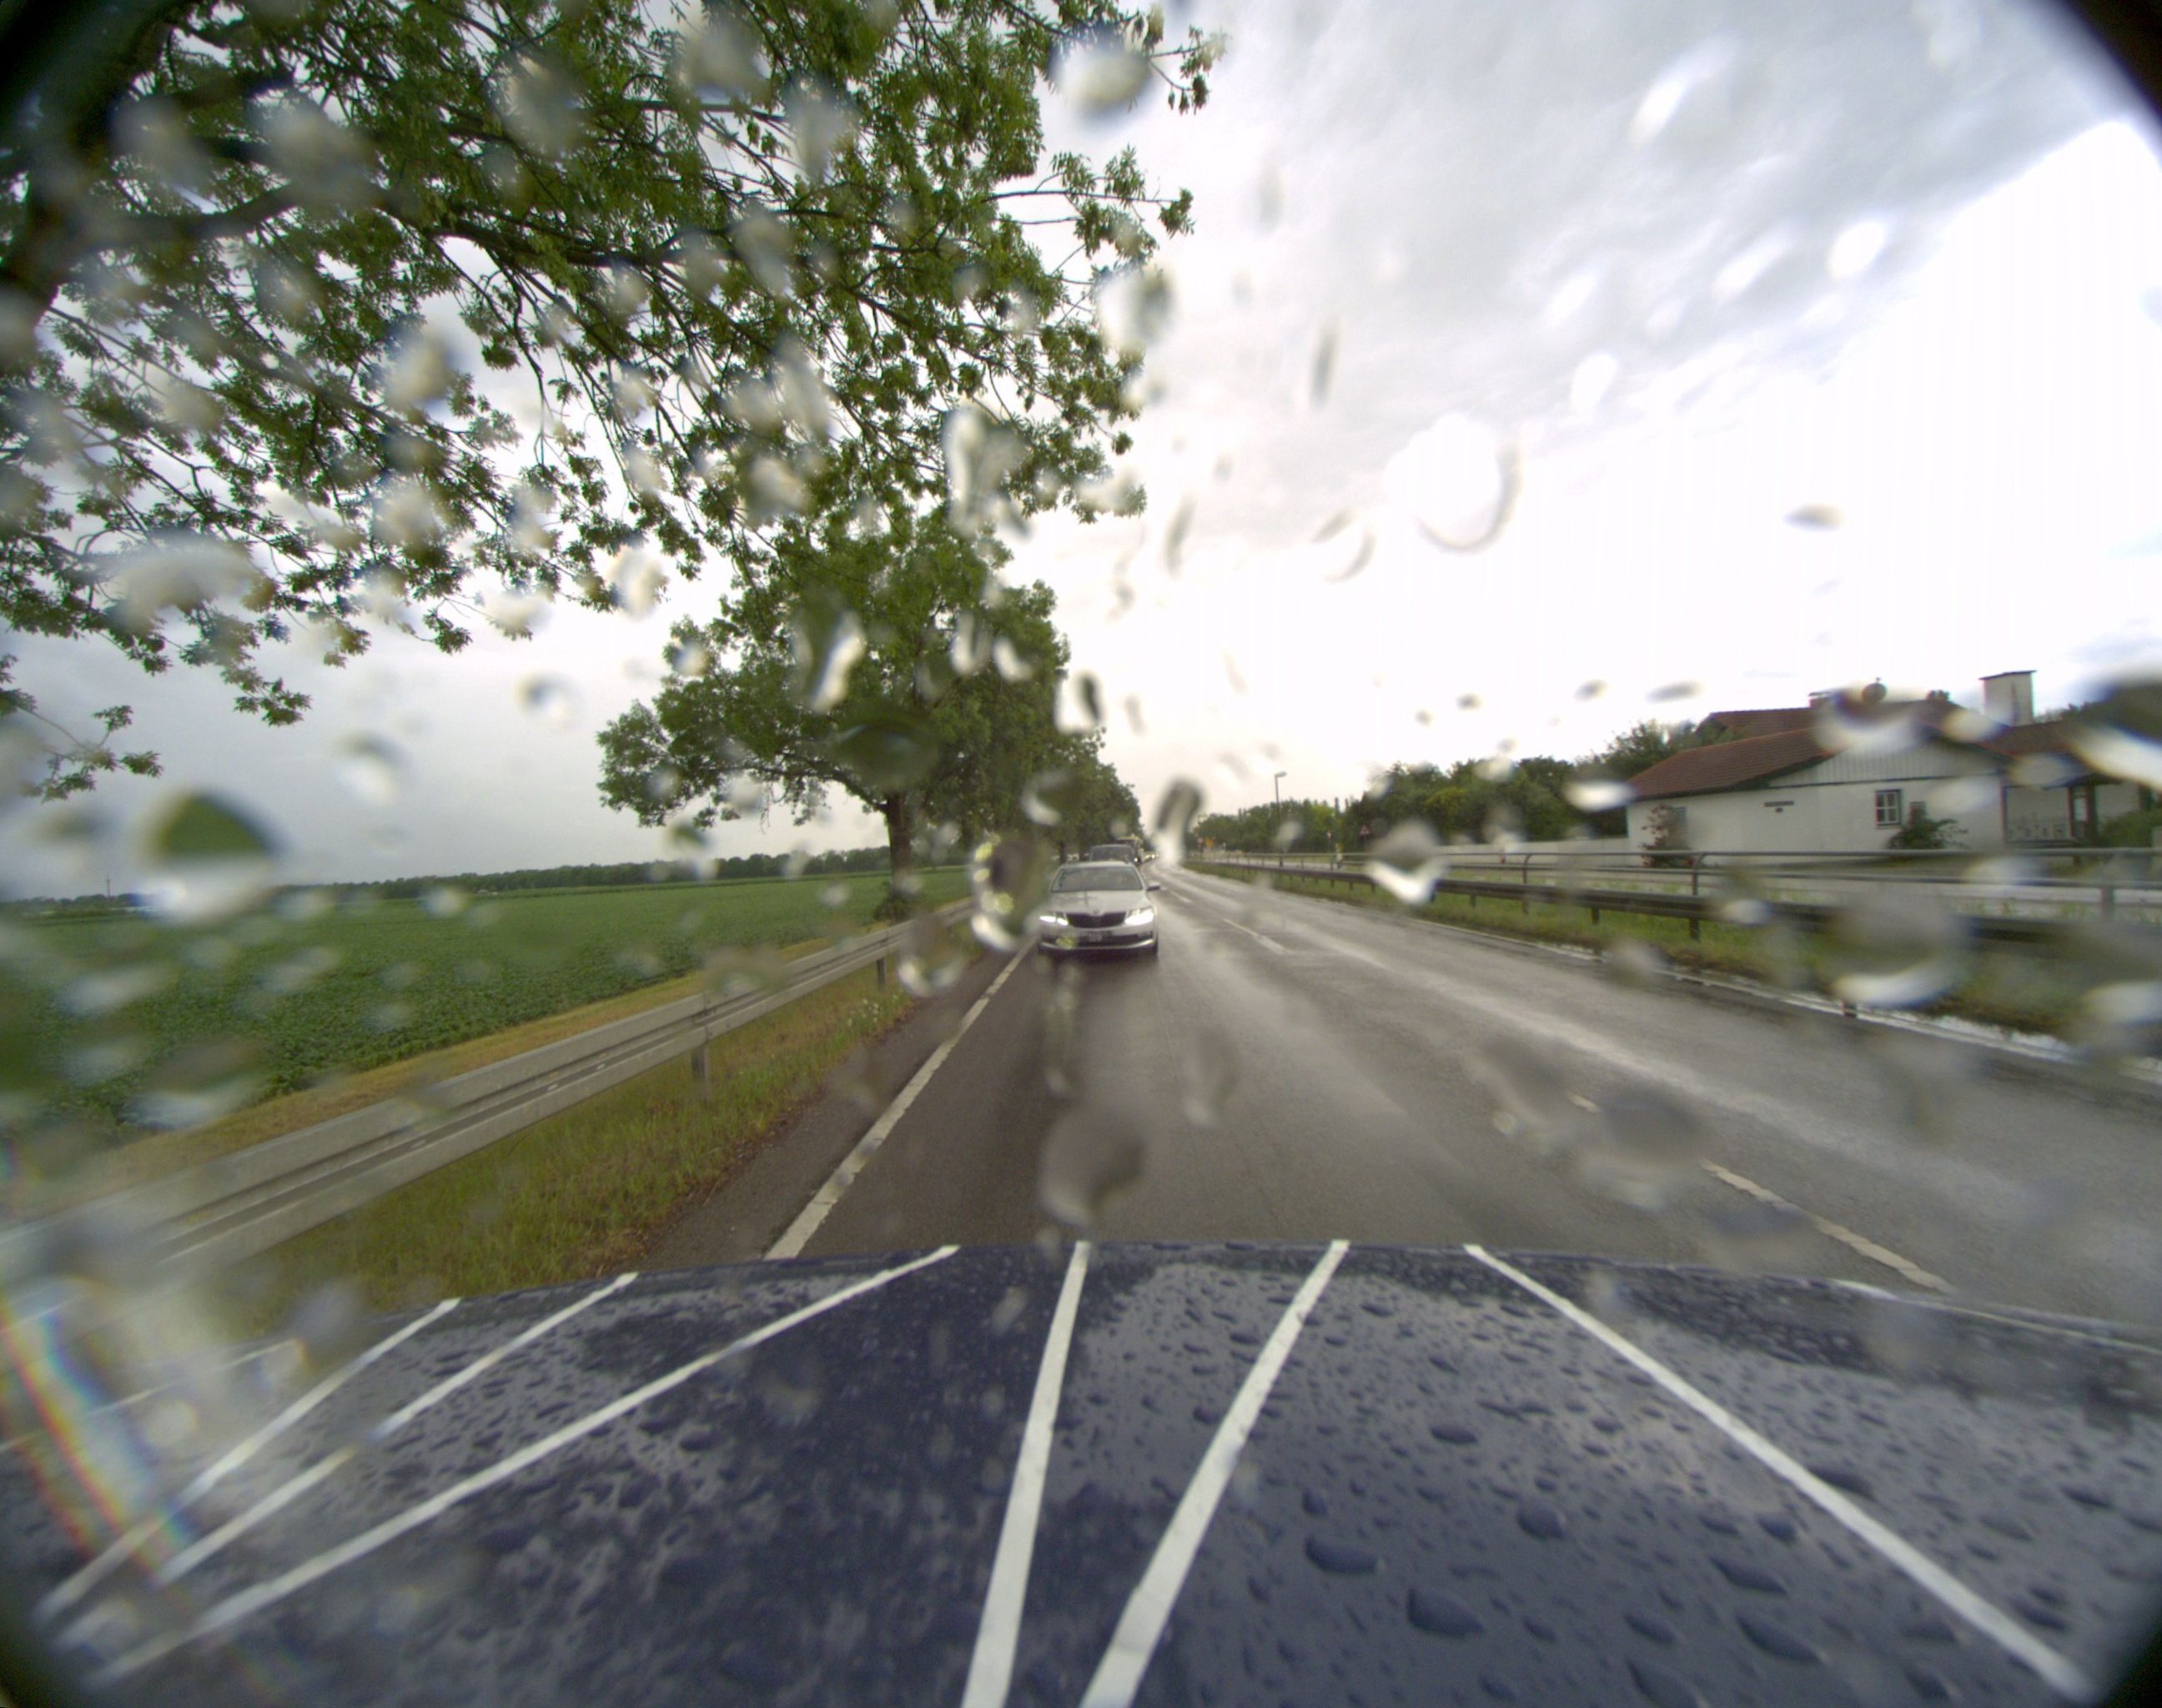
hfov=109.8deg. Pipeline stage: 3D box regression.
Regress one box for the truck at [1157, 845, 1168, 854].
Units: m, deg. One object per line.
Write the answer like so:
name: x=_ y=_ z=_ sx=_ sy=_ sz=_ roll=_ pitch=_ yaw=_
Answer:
truck: x=22.642 y=-1.266 z=210.917 sx=2.800 sy=2.461 sz=7.169 roll=-3 pitch=0 yaw=4

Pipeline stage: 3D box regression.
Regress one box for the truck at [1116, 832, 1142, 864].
truck: x=5.748 y=-0.721 z=91.633 sx=2.751 sy=3.547 sz=8.387 roll=-3 pitch=0 yaw=2

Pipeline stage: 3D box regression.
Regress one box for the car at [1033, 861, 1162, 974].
car: x=0.247 y=0.878 z=12.248 sx=1.705 sy=1.438 sz=4.000 roll=-1 pitch=0 yaw=1

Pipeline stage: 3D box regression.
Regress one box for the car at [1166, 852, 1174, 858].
car: x=27.591 y=0.310 z=235.193 sx=1.998 sy=2.002 sz=4.100 roll=-3 pitch=0 yaw=1

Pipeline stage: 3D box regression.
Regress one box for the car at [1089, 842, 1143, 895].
car: x=1.270 y=0.522 z=29.335 sx=1.903 sy=1.884 sz=4.000 roll=-1 pitch=0 yaw=1

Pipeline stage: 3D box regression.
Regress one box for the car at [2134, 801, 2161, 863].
car: x=24.613 y=-0.522 z=15.607 sx=1.452 sy=1.348 sz=3.270 roll=-3 pitch=0 yaw=2

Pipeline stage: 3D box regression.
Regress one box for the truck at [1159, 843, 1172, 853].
truck: x=21.652 y=-1.546 z=194.813 sx=2.800 sy=2.461 sz=7.169 roll=-3 pitch=0 yaw=4

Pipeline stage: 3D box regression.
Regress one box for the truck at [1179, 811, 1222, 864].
truck: x=12.316 y=-1.677 z=78.944 sx=3.256 sy=5.004 sz=7.784 roll=-4 pitch=0 yaw=2

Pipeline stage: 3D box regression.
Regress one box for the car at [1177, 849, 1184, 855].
car: x=33.471 y=-0.644 z=256.586 sx=1.811 sy=1.723 sz=4.027 roll=-3 pitch=0 yaw=2
